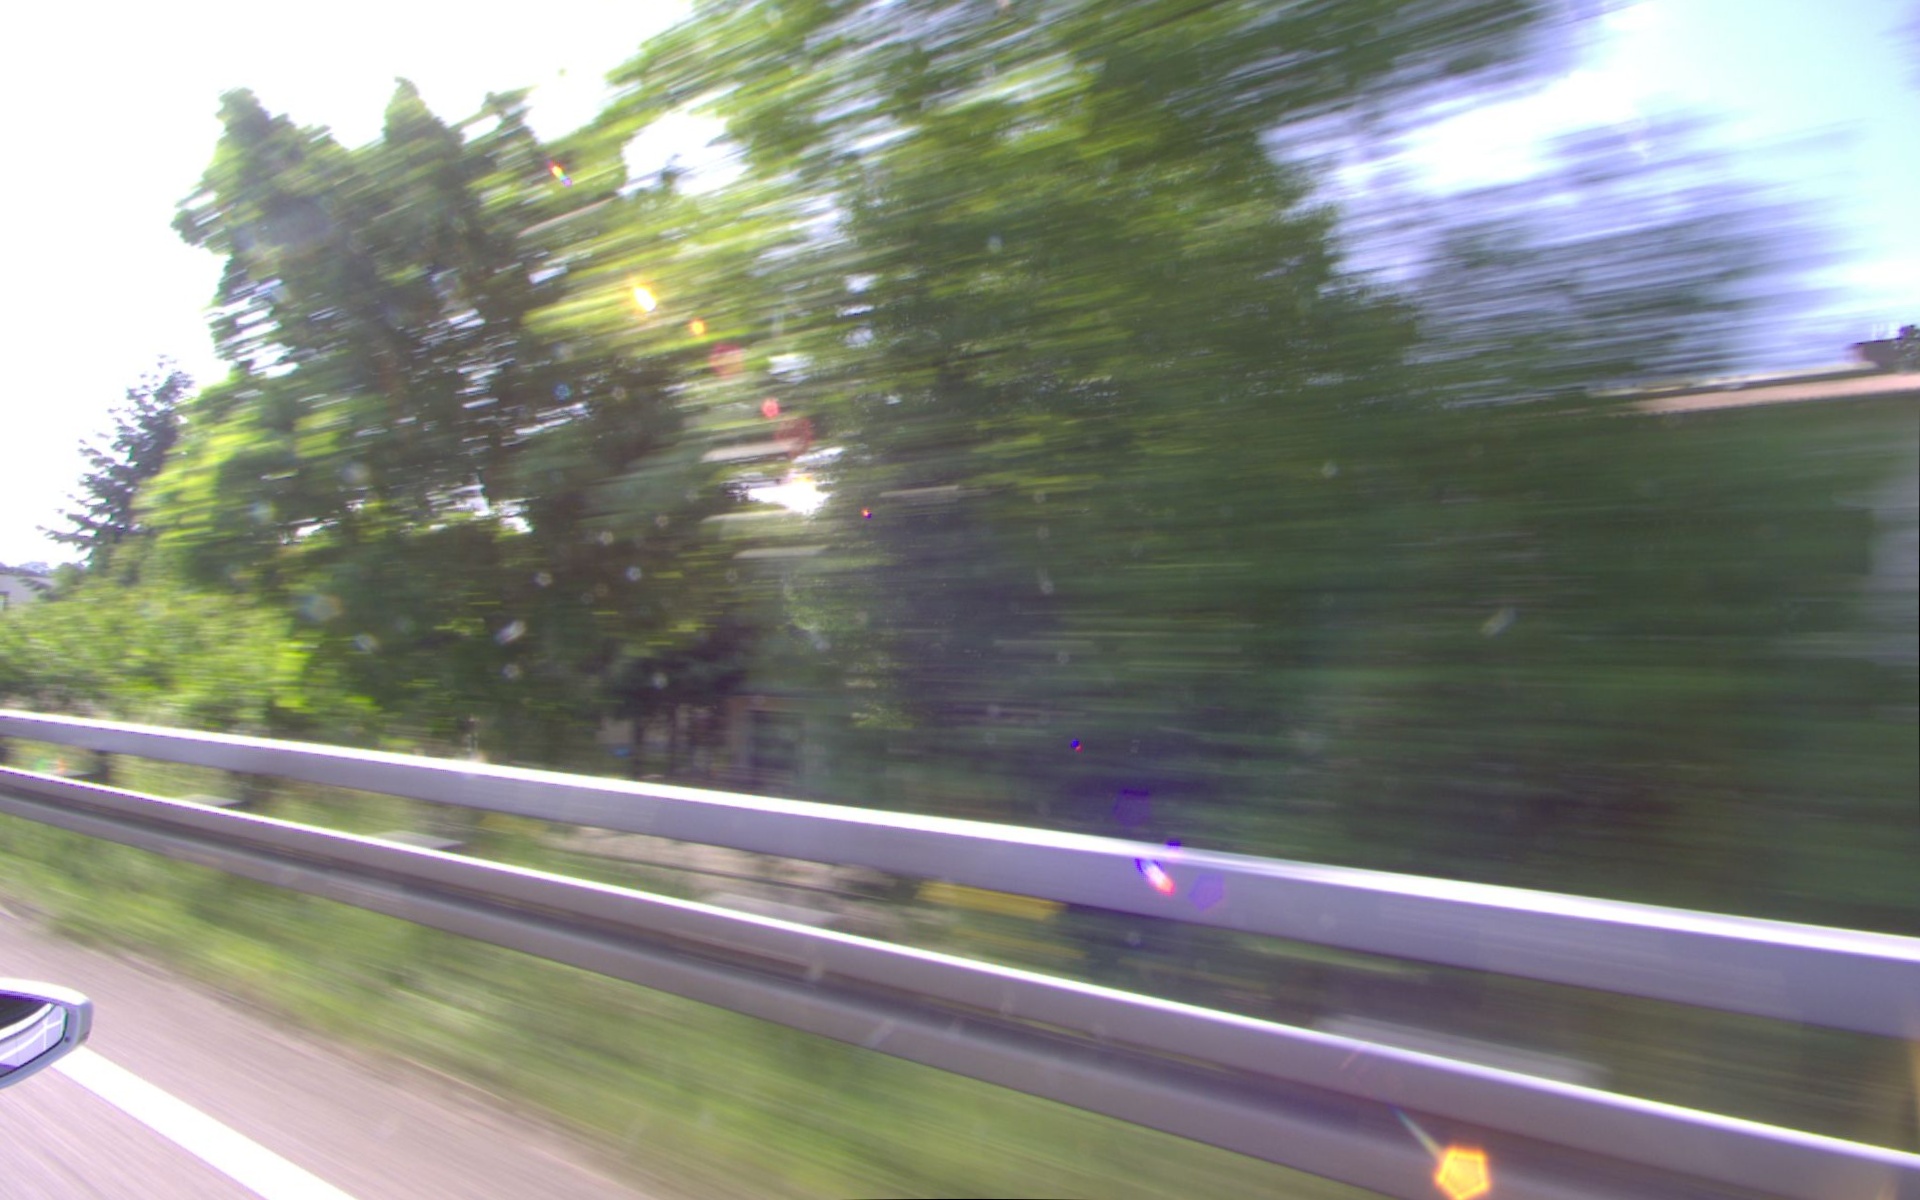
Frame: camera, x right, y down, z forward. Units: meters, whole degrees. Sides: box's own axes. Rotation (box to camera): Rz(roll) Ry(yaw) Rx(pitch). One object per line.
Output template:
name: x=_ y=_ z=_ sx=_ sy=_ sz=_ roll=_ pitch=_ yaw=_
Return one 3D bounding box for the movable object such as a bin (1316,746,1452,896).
movable object such as a bin: x=7.413 y=3.704 z=17.376 sx=1.688 sy=2.038 sz=2.910 roll=-1 pitch=-3 yaw=33
